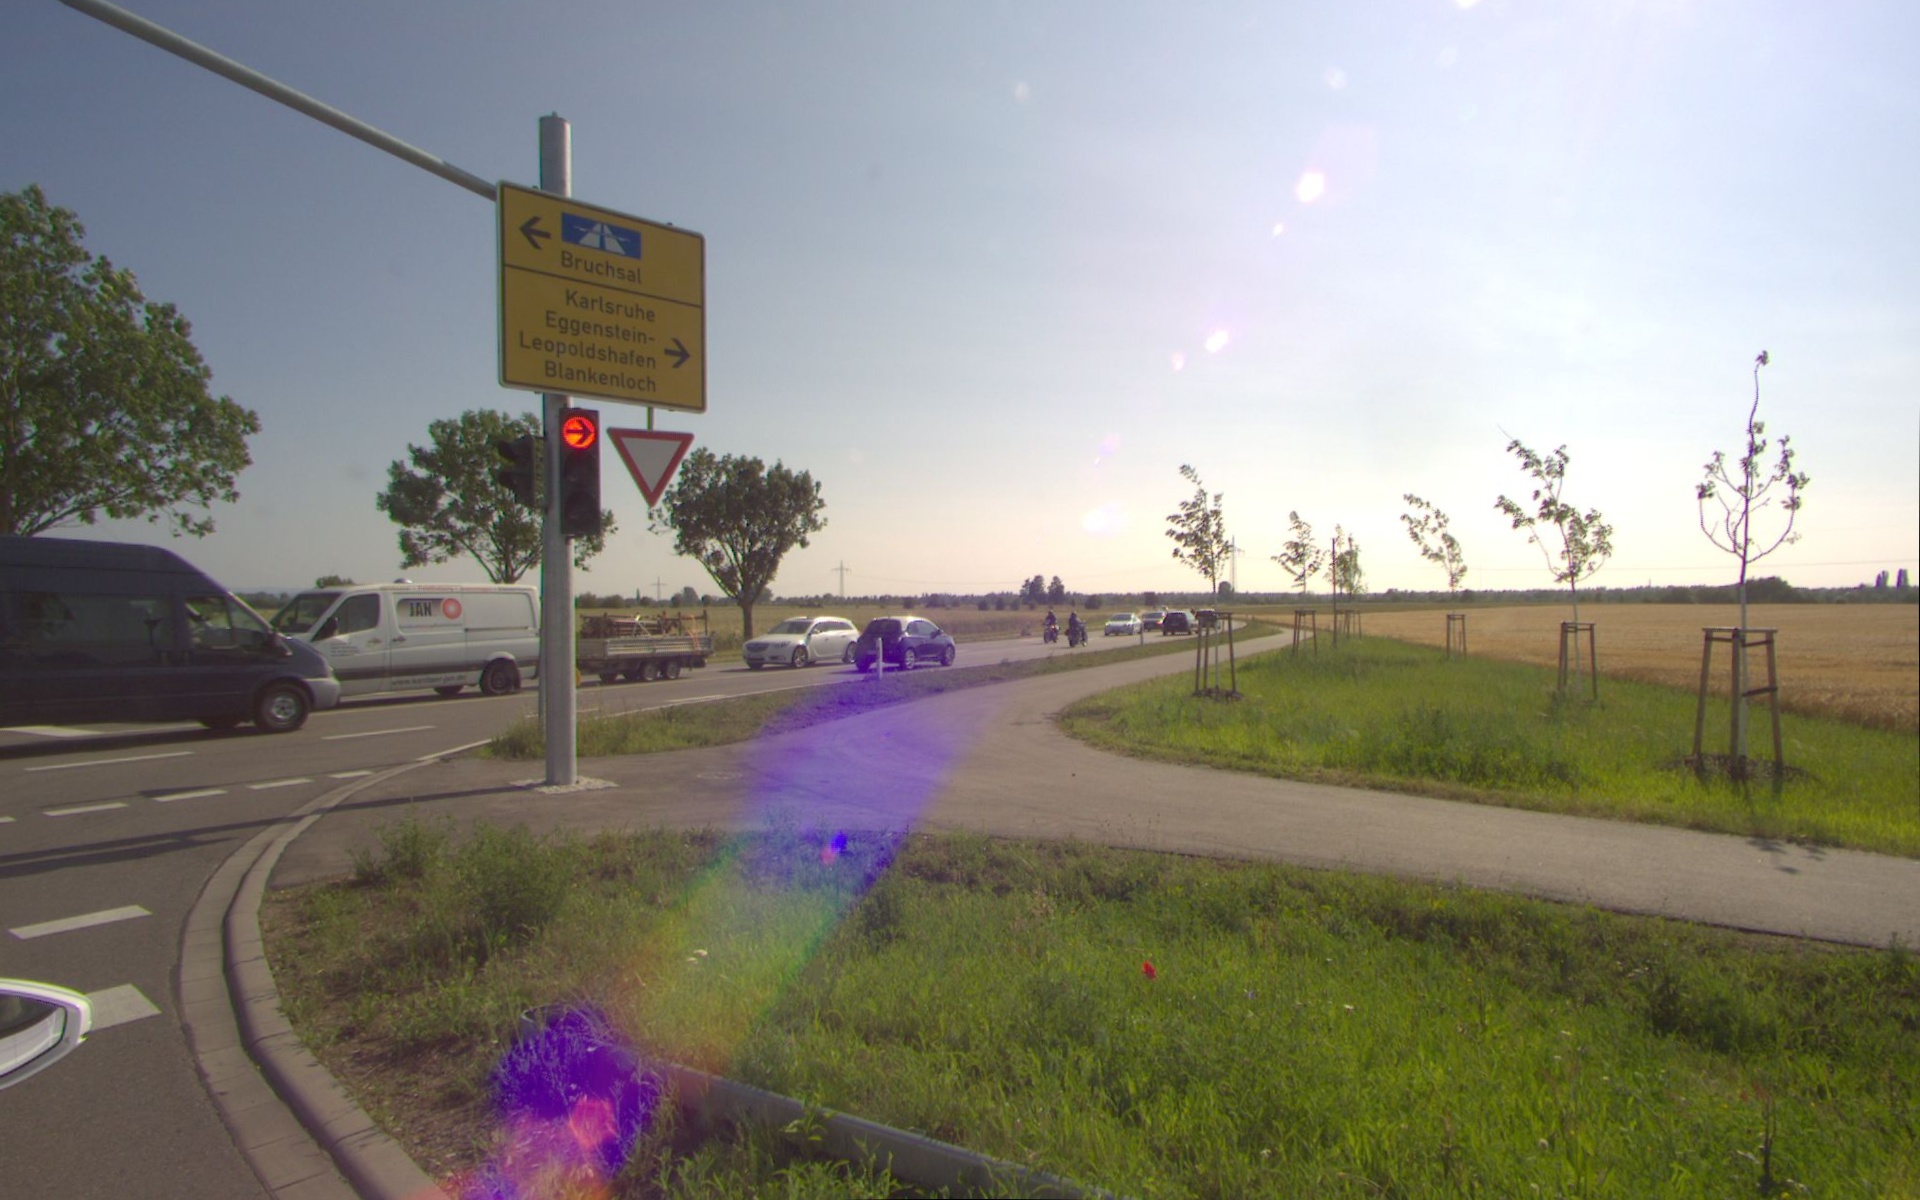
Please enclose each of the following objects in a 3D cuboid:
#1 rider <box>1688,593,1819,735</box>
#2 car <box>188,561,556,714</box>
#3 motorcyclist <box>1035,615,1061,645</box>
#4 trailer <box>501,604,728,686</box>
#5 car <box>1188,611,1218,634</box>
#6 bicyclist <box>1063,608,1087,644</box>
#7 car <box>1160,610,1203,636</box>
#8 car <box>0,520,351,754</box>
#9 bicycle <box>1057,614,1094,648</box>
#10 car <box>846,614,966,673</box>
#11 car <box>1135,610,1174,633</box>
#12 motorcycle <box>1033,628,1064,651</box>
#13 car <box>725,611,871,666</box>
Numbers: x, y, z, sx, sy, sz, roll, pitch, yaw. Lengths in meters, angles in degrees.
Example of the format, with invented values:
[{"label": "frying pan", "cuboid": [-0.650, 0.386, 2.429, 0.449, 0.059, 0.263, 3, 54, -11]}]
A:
[{"label": "rider", "cuboid": [9.711, 0.749, 12.274, 0.973, 1.665, 0.820, 0, 1, -17]}, {"label": "car", "cuboid": [-11.094, 0.613, 19.531, 1.970, 2.525, 5.947, -1, 0, 30]}, {"label": "motorcyclist", "cuboid": [4.450, 1.525, 50.627, 1.013, 1.479, 1.067, 0, -1, 27]}, {"label": "trailer", "cuboid": [-8.221, 1.007, 24.418, 1.925, 1.776, 5.254, -1, -1, 30]}, {"label": "car", "cuboid": [18.493, 1.736, 76.136, 1.733, 1.689, 3.961, -1, -2, 21]}, {"label": "bicyclist", "cuboid": [4.966, 1.131, 43.400, 0.747, 1.508, 0.806, -1, -2, 33]}, {"label": "car", "cuboid": [13.953, 1.392, 62.820, 1.889, 1.539, 4.676, 1, 0, 22]}, {"label": "car", "cuboid": [-11.244, 0.446, 12.751, 2.003, 2.656, 5.724, 0, -1, 30]}, {"label": "bicycle", "cuboid": [5.013, 1.321, 43.479, 0.721, 1.415, 2.489, -1, 0, 28]}, {"label": "car", "cuboid": [-1.494, 1.190, 28.771, 1.703, 1.476, 3.721, 0, 1, 30]}, {"label": "car", "cuboid": [14.883, 1.668, 76.373, 1.988, 1.609, 4.874, -1, -2, 23]}, {"label": "motorcycle", "cuboid": [4.506, 2.011, 50.735, 0.836, 1.133, 2.140, 0, -2, 26]}, {"label": "car", "cuboid": [-4.878, 1.194, 30.948, 1.969, 1.529, 4.868, -1, -2, 27]}]
